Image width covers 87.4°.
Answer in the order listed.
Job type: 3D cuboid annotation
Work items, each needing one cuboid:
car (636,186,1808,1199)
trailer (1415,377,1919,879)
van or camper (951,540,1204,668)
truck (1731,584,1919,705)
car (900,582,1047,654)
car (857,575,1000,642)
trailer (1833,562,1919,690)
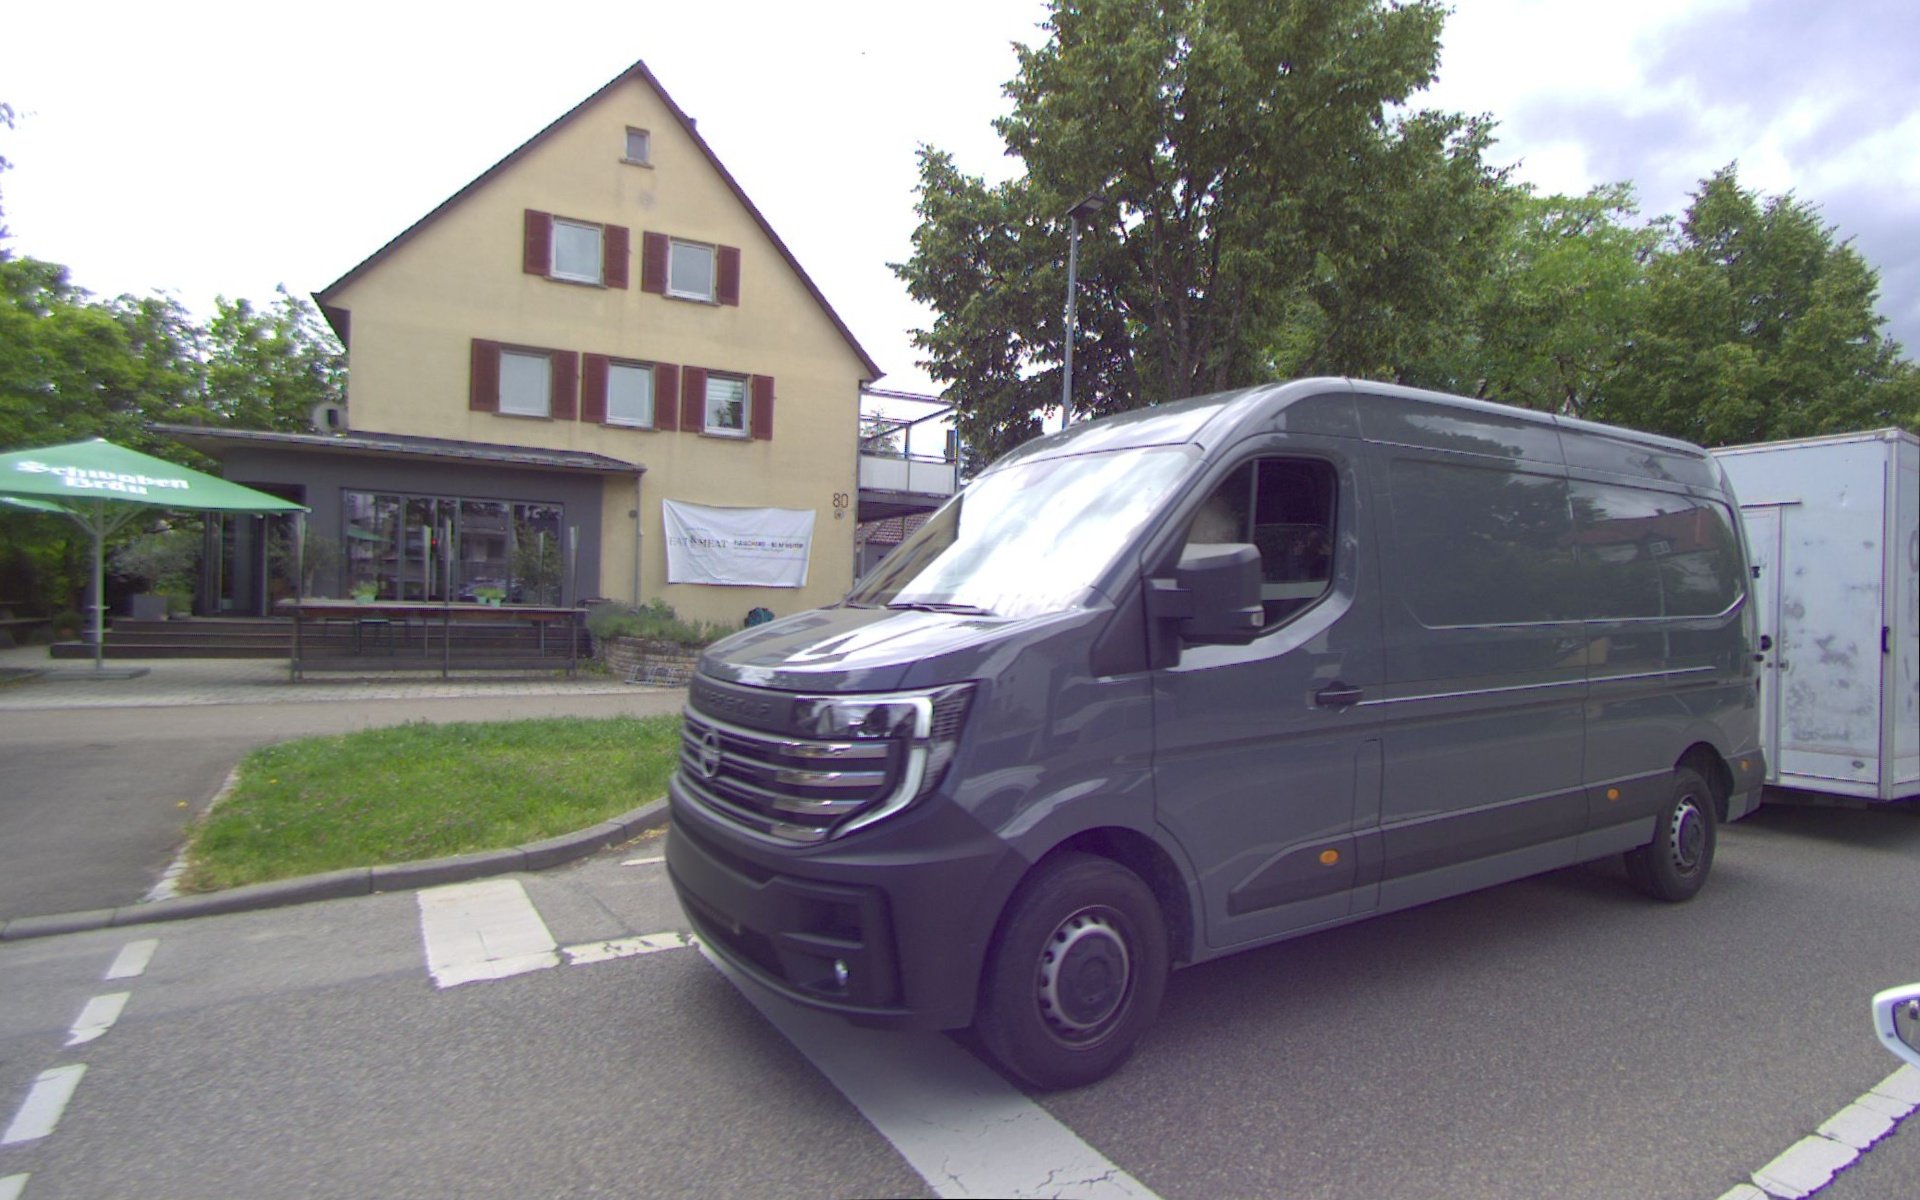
[{"bbox_3d":[1.831,0.317,5.036,6.247,2.513,2.047,2,0,-34],"label":"car"},{"bbox_3d":[7.211,0.226,8.802,6.797,2.917,2.619,1,0,-33],"label":"trailer"},{"bbox_3d":[2.982,0.157,25.399,5.857,2.922,2.588,1,0,-25],"label":"van or camper"},{"bbox_3d":[19.558,0.911,21.959,6.393,2.317,2.282,1,-1,-33],"label":"truck"},{"bbox_3d":[0.383,0.550,30.147,3.942,2.040,1.990,1,0,-22],"label":"car"},{"bbox_3d":[-1.036,0.279,32.739,4.261,2.040,1.991,1,0,-20],"label":"car"},{"bbox_3d":[25.091,0.677,25.667,6.934,3.002,2.359,1,0,-33],"label":"trailer"}]
